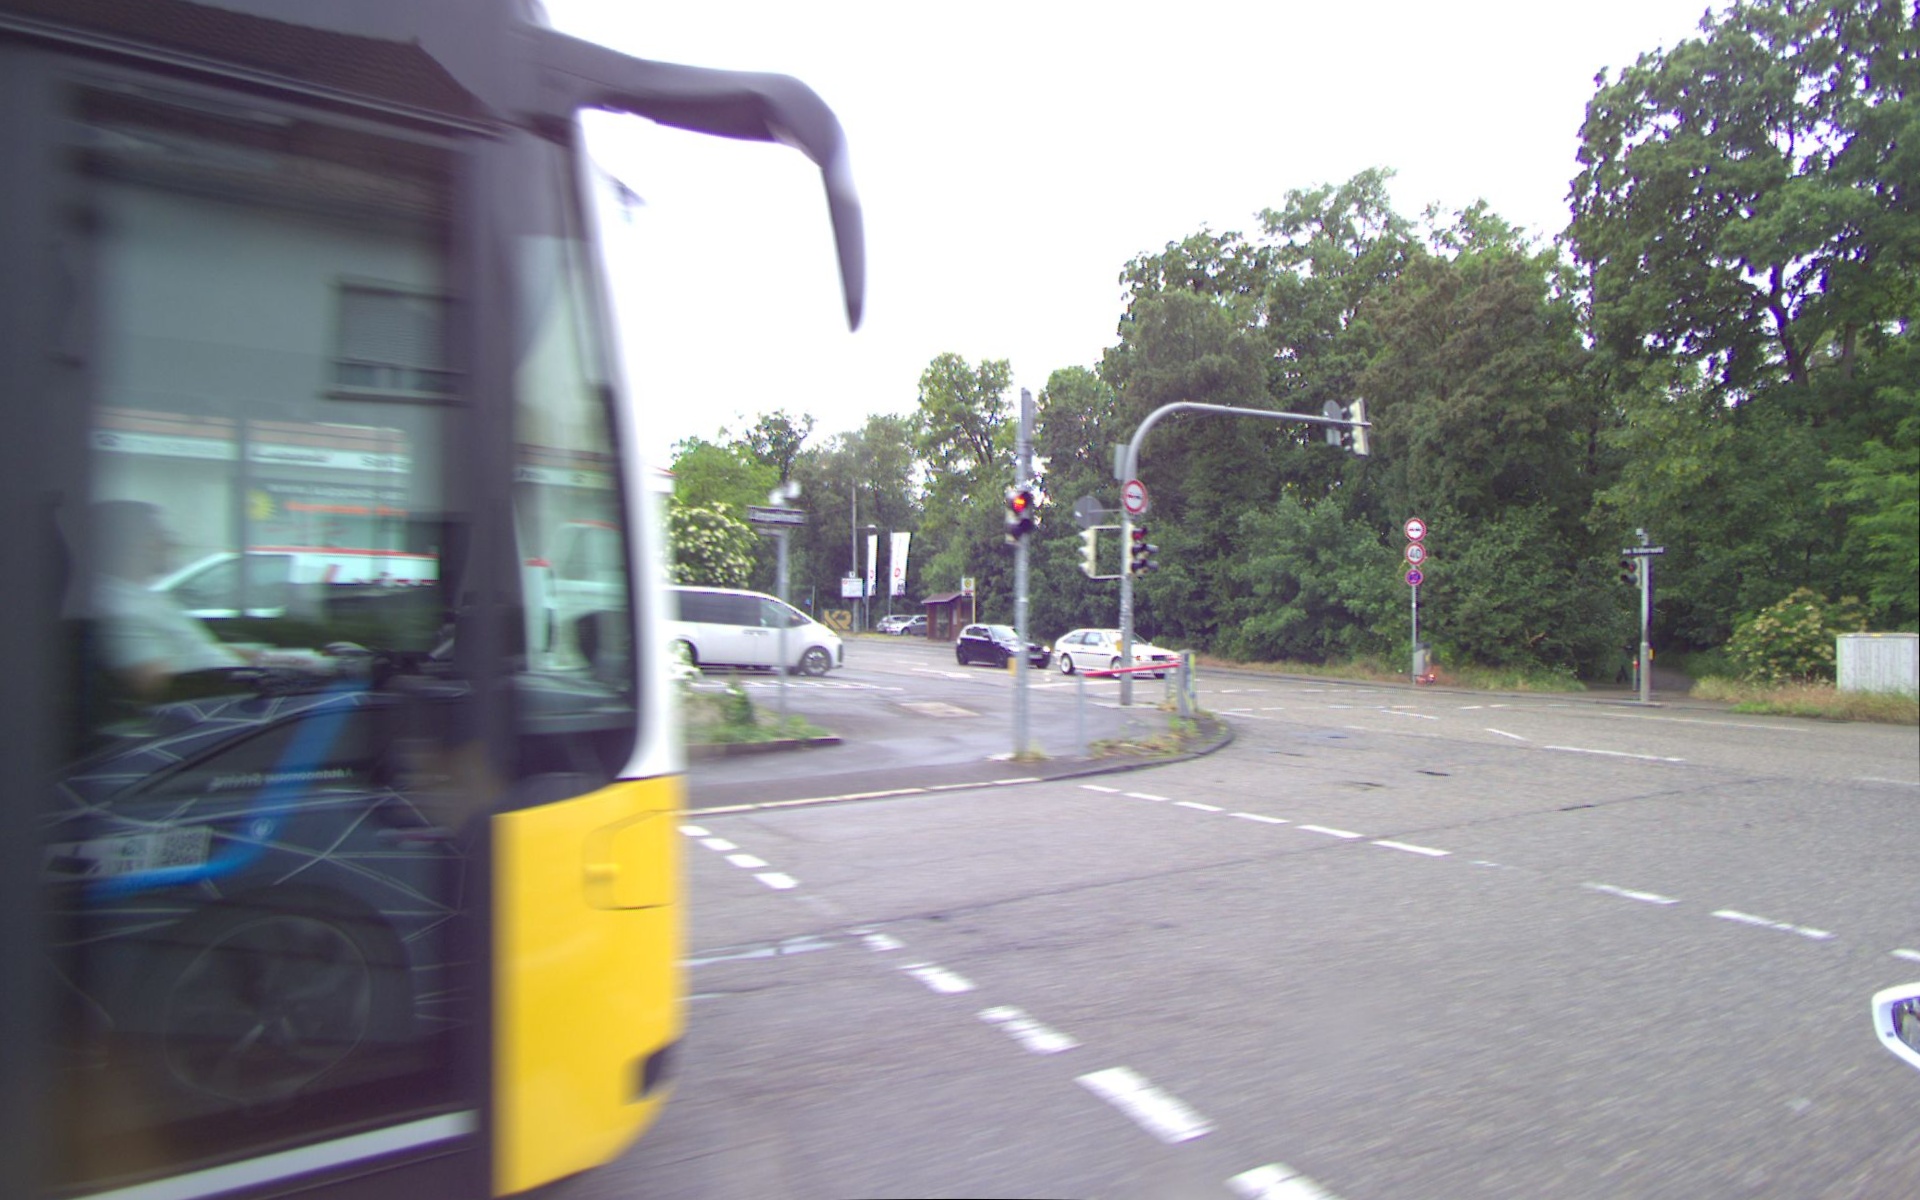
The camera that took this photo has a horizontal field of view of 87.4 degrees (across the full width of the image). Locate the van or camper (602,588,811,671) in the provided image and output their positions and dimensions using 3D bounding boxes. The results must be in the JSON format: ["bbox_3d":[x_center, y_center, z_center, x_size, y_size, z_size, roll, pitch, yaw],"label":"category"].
[{"bbox_3d":[-6.724,0.770,26.754,5.115,2.040,1.986,1,-1,-27],"label":"van or camper"}]

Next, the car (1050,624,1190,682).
[{"bbox_3d":[4.321,1.407,27.658,1.802,1.372,3.971,1,0,-28],"label":"car"}]

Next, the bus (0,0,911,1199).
[{"bbox_3d":[-4.676,-0.217,1.136,8.933,3.443,2.887,1,-2,-30],"label":"bus"}]

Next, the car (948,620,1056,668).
[{"bbox_3d":[1.305,1.419,33.046,1.802,1.372,3.971,1,0,-28],"label":"car"}]

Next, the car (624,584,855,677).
[{"bbox_3d":[-5.268,0.719,24.149,5.114,2.040,1.987,1,-1,-26],"label":"car"}]

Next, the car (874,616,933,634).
[{"bbox_3d":[-4.054,1.779,71.858,3.953,1.216,1.593,1,-1,-30],"label":"car"}]

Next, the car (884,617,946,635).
[{"bbox_3d":[-3.100,1.795,69.245,3.953,1.216,1.593,1,-1,-30],"label":"car"}]

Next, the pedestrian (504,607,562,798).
[{"bbox_3d":[-3.827,0.897,9.023,0.406,1.657,0.454,0,1,-15],"label":"pedestrian"}]
